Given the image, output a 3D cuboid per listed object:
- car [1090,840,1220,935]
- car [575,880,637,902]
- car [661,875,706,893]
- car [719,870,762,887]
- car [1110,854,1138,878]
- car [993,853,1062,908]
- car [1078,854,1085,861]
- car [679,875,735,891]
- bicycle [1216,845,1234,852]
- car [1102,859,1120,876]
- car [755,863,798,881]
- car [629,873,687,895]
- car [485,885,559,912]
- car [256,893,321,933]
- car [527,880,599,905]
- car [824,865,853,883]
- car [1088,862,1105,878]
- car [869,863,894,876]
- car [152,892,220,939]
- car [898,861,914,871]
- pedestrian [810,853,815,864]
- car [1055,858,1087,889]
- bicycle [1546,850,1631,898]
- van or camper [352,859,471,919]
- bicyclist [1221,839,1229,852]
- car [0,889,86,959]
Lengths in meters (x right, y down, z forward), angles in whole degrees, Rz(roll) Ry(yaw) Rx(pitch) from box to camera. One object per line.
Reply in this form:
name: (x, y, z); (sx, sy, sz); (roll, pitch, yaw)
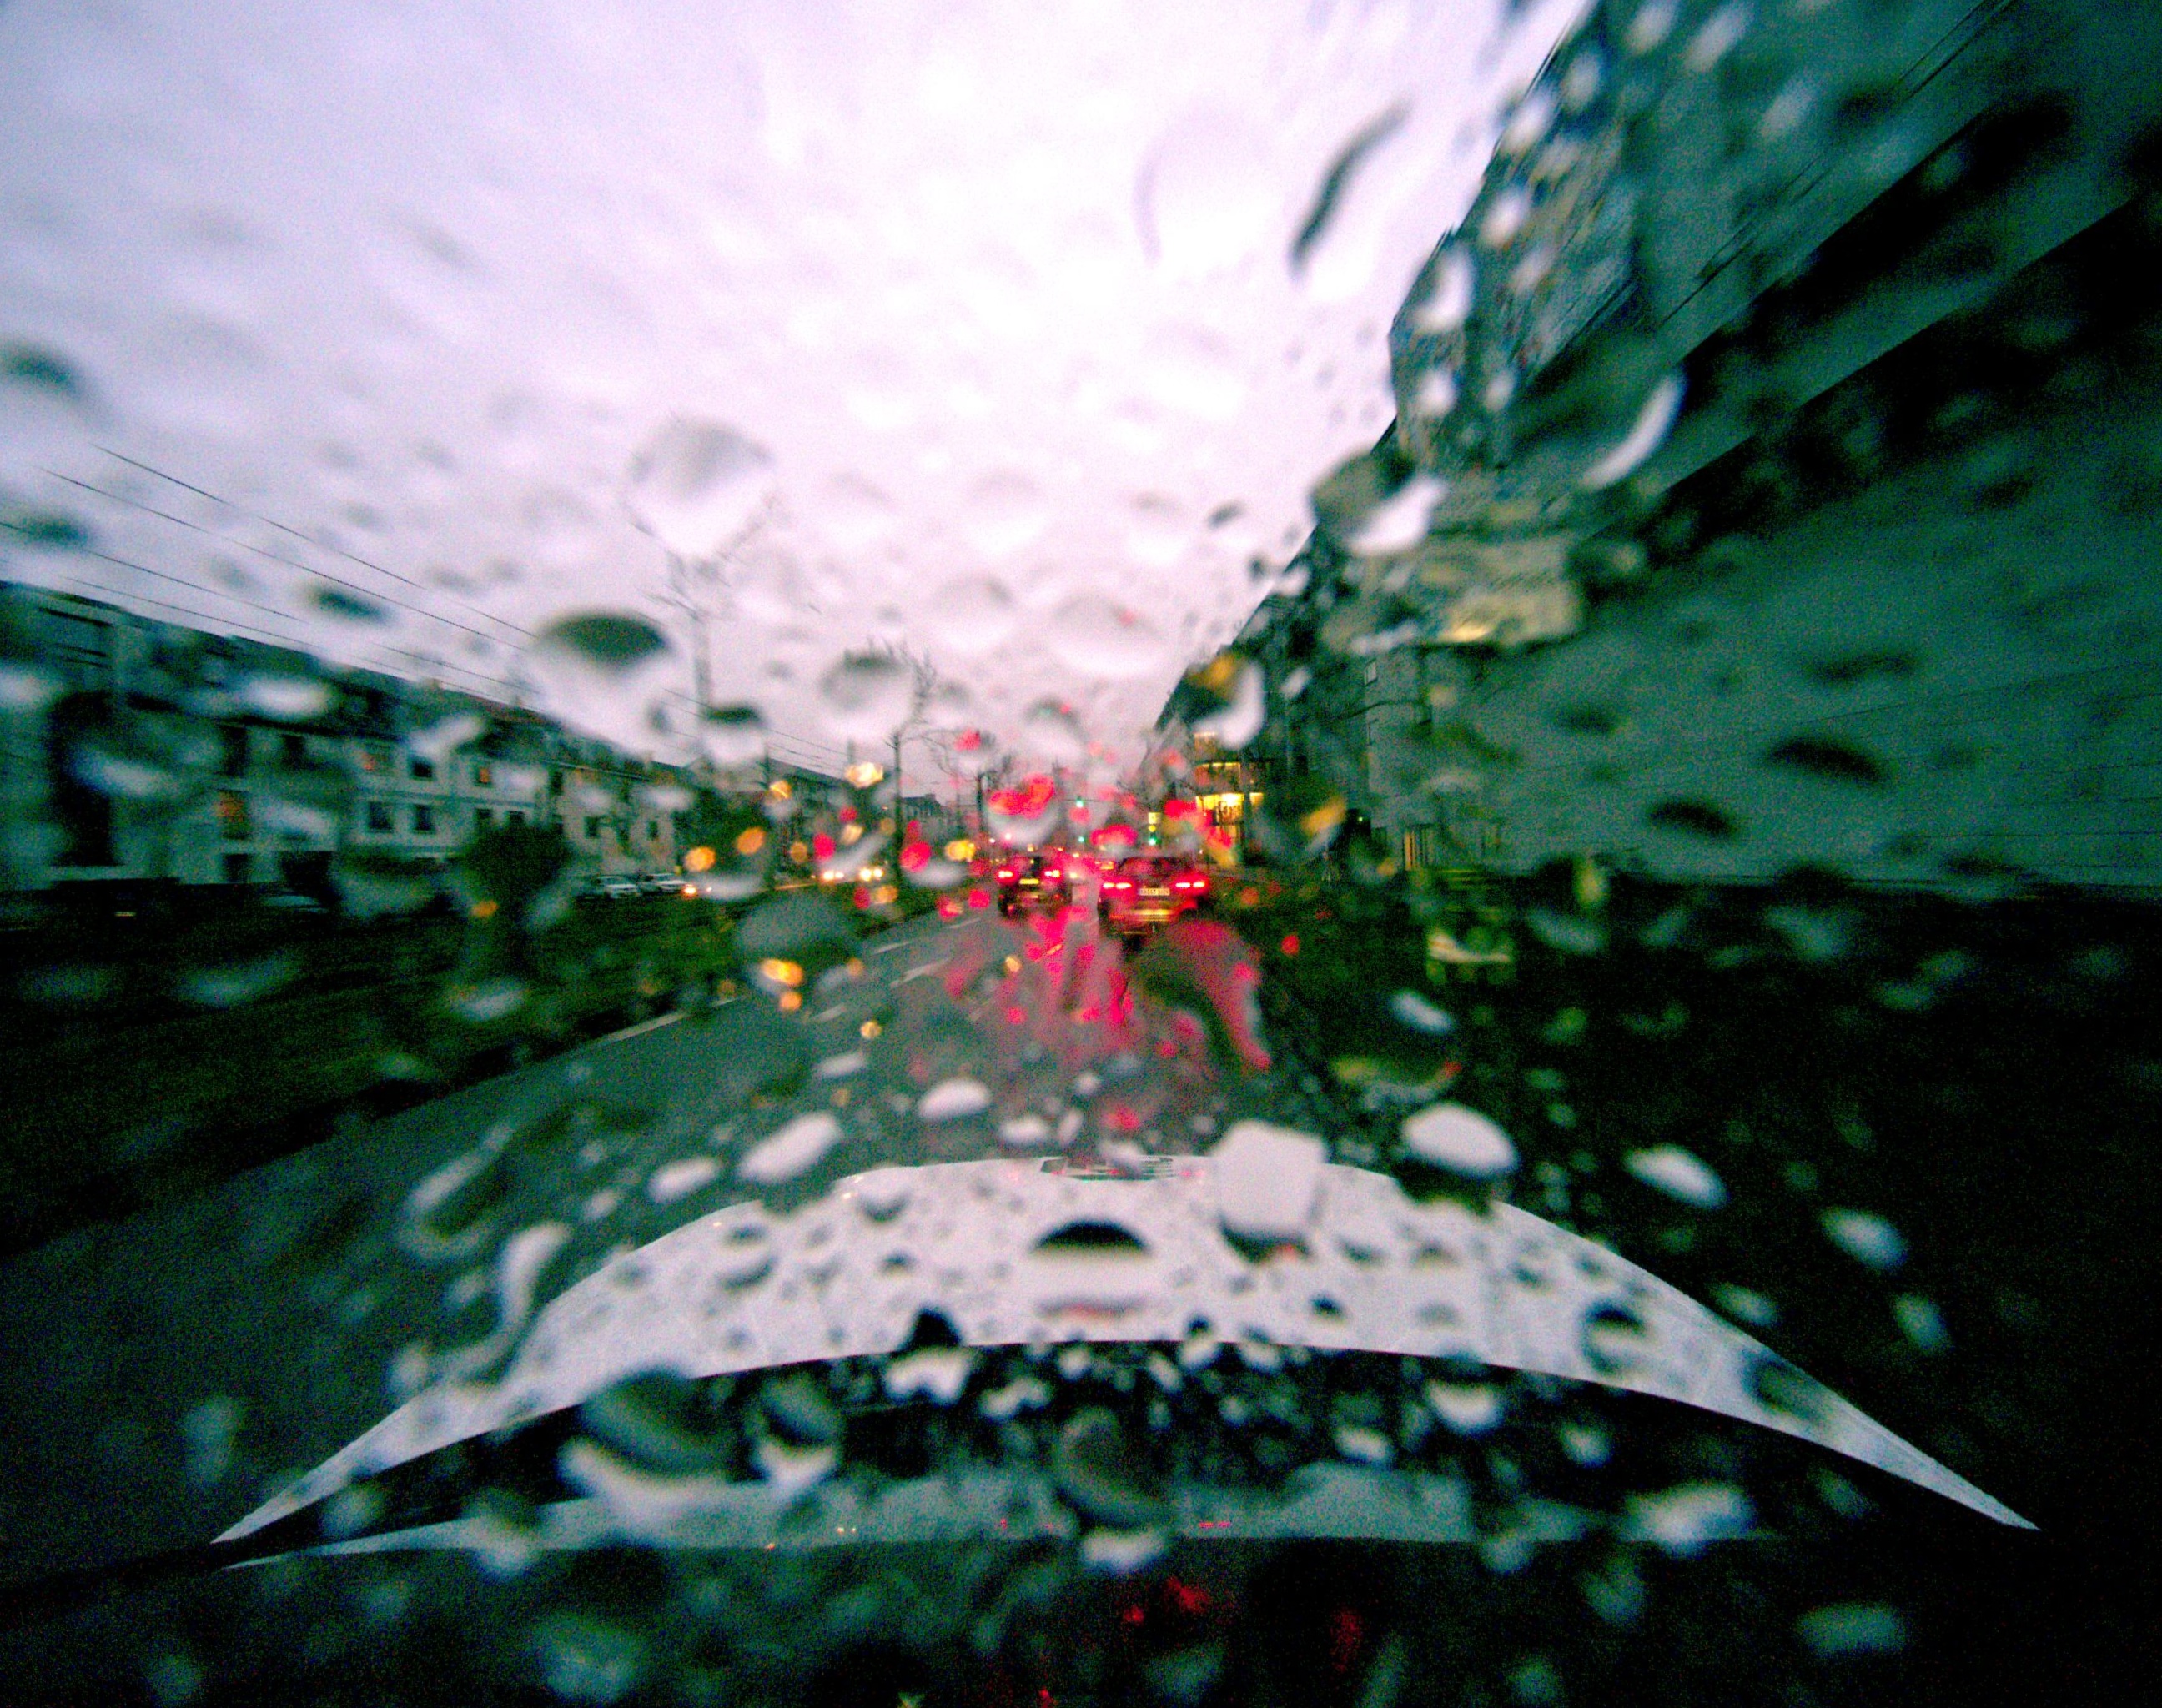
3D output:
car: (1.194, 0.549, 14.714); (1.987, 1.483, 3.699); (0, -1, 0)
car: (-27.635, 2.130, 47.369); (3.375, 1.147, 1.702); (-1, 0, 31)
car: (-27.876, 2.107, 57.131); (3.006, 1.147, 1.406); (-1, 0, 30)
car: (-28.215, 2.034, 67.448); (3.719, 1.337, 1.463); (-2, 0, 35)
car: (2.979, 0.806, 56.299); (1.859, 1.543, 3.613); (0, 0, 3)
car: (-1.480, 0.722, 23.680); (1.813, 1.450, 3.997); (0, 0, -2)
car: (0.055, 0.879, 197.331); (1.543, 1.508, 3.387); (0, 0, 1)
car: (-27.660, 2.148, 60.280); (4.136, 1.116, 1.692); (-1, 0, 30)
bicycle: (14.987, -0.595, 84.565); (1.711, 0.745, 0.656); (-1, 0, 33)
car: (2.769, 1.206, 75.739); (1.618, 1.498, 3.526); (0, 0, 0)
car: (-27.555, 1.647, 73.642); (3.749, 1.555, 1.753); (-1, 0, 32)
car: (-28.026, 1.953, 53.942); (4.071, 1.378, 1.784); (0, 0, 36)
car: (-28.272, 2.211, 41.172); (3.495, 1.212, 1.759); (-1, 0, 31)
car: (-27.683, 2.007, 28.428); (2.851, 1.204, 1.397); (-1, 0, 41)
car: (-27.778, 2.037, 43.629); (3.495, 1.200, 1.894); (-1, 0, 31)
car: (-22.775, 1.844, 76.646); (1.608, 1.623, 3.508); (0, 0, 0)
car: (1.540, 1.554, 81.617); (1.609, 1.522, 3.408); (0, 0, 0)
car: (-24.611, 1.924, 100.630); (1.875, 1.502, 4.788); (0, 0, -1)
car: (-28.664, 1.917, 26.054); (3.057, 1.302, 1.397); (-1, 0, 41)
car: (-29.653, 1.972, 138.056); (1.928, 1.597, 3.722); (0, 0, -3)
pedestrian: (-29.349, 0.504, 89.023); (0.348, 1.184, 0.429); (0, -1, -41)
car: (-0.544, 1.047, 44.977); (1.684, 1.635, 3.473); (0, 0, 0)
bicycle: (12.234, 0.482, 19.638); (1.804, 1.052, 0.396); (-3, 0, -3)
van or camper: (-28.792, 1.399, 34.953); (6.792, 2.360, 2.013); (-1, 0, 33)
bicyclist: (14.993, -0.894, 84.580); (0.615, 1.330, 0.569); (-1, -1, 32)
car: (-27.865, 1.798, 21.600); (3.800, 1.588, 1.753); (-1, 0, 41)
